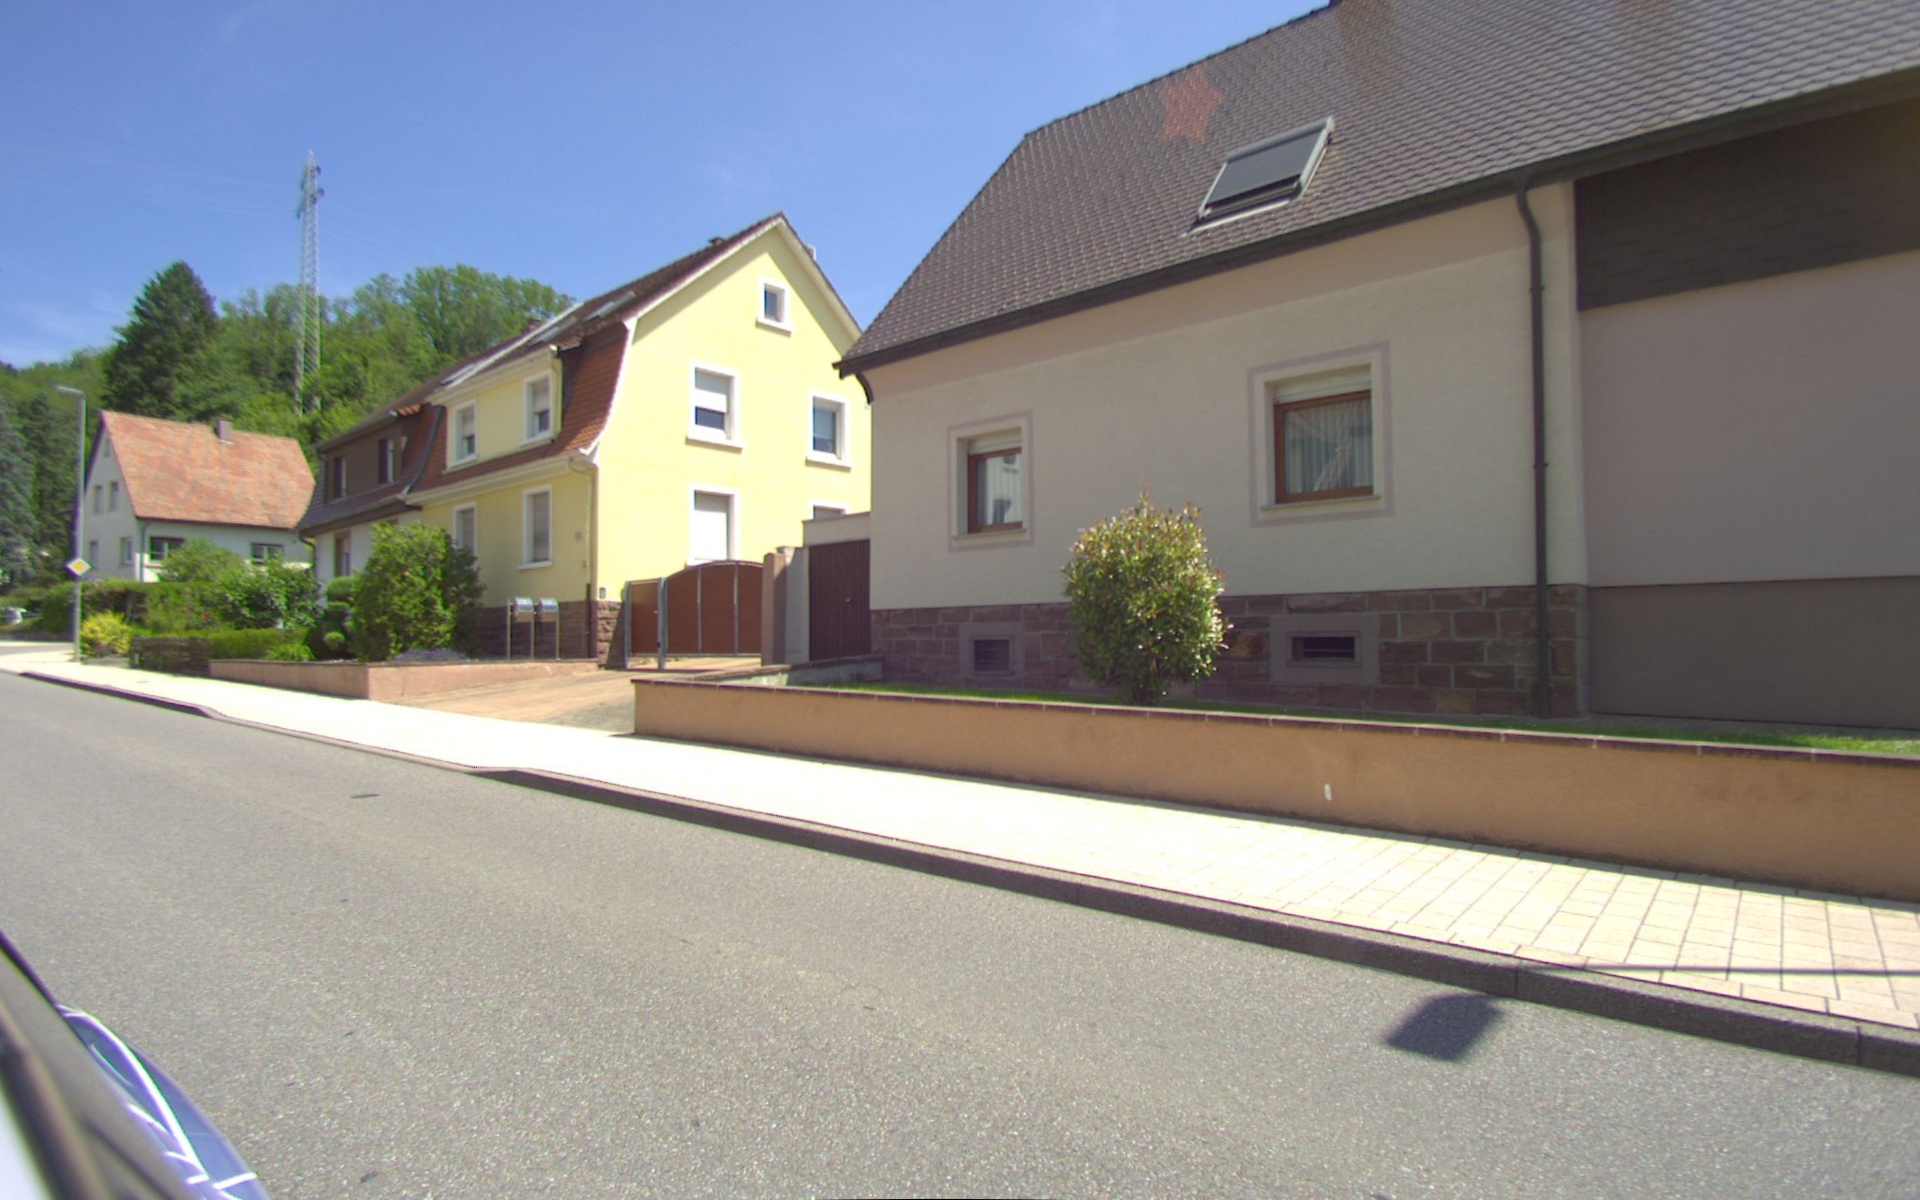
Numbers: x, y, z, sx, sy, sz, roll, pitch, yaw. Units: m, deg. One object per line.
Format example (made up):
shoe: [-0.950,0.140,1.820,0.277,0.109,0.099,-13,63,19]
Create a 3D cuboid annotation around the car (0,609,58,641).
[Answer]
car: [-54.137,1.415,57.472,1.795,1.803,3.978,-1,-1,17]
